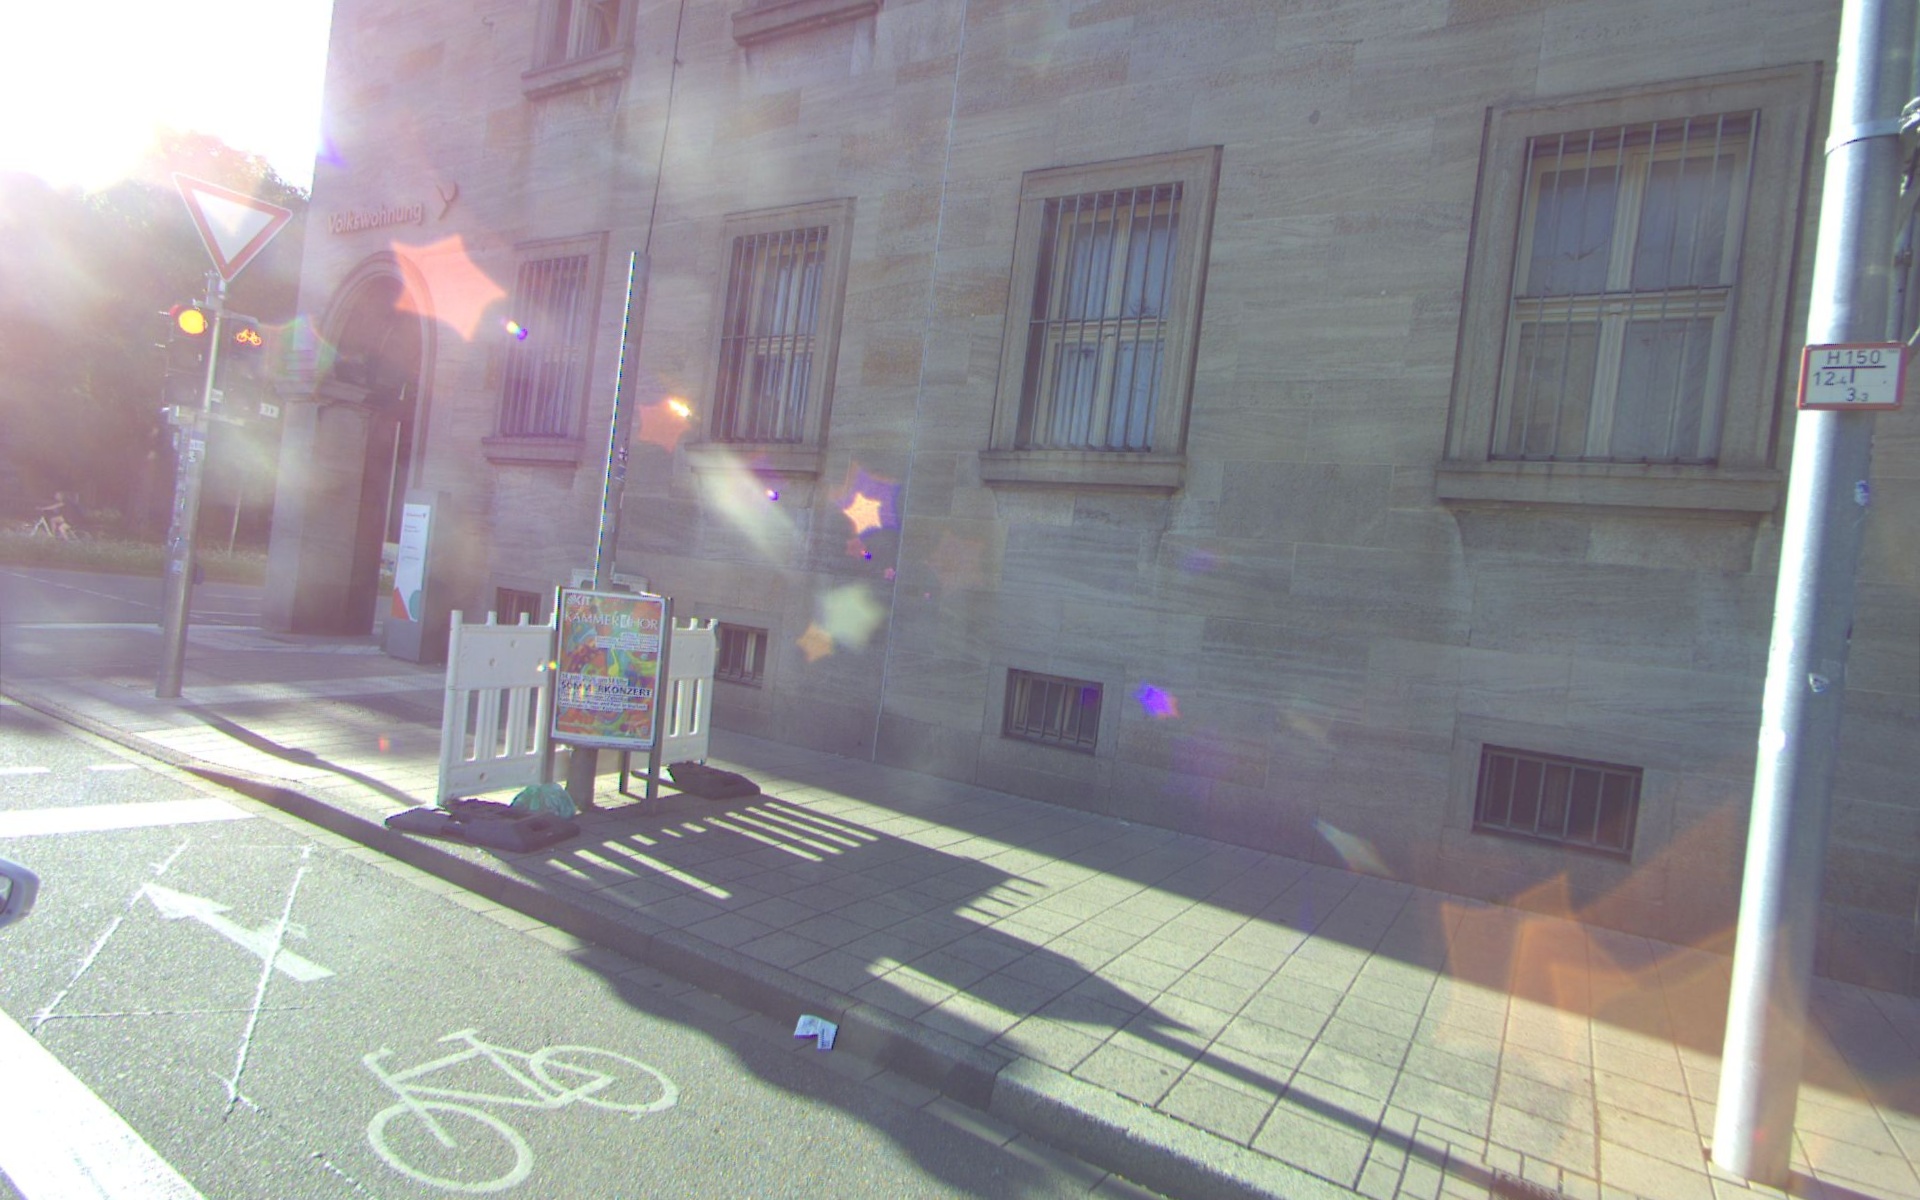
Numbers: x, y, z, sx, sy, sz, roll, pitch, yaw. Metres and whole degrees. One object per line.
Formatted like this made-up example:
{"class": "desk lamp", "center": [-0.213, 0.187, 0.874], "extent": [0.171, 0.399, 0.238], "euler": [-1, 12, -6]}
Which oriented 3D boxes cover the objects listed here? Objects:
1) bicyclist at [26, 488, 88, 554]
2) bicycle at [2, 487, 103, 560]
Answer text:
{"class": "bicyclist", "center": [-25.380, -2.206, 28.276], "extent": [0.587, 1.661, 1.075], "euler": [7, 0, 35]}
{"class": "bicycle", "center": [-25.433, -2.128, 28.221], "extent": [0.587, 1.756, 1.898], "euler": [7, 0, 35]}
